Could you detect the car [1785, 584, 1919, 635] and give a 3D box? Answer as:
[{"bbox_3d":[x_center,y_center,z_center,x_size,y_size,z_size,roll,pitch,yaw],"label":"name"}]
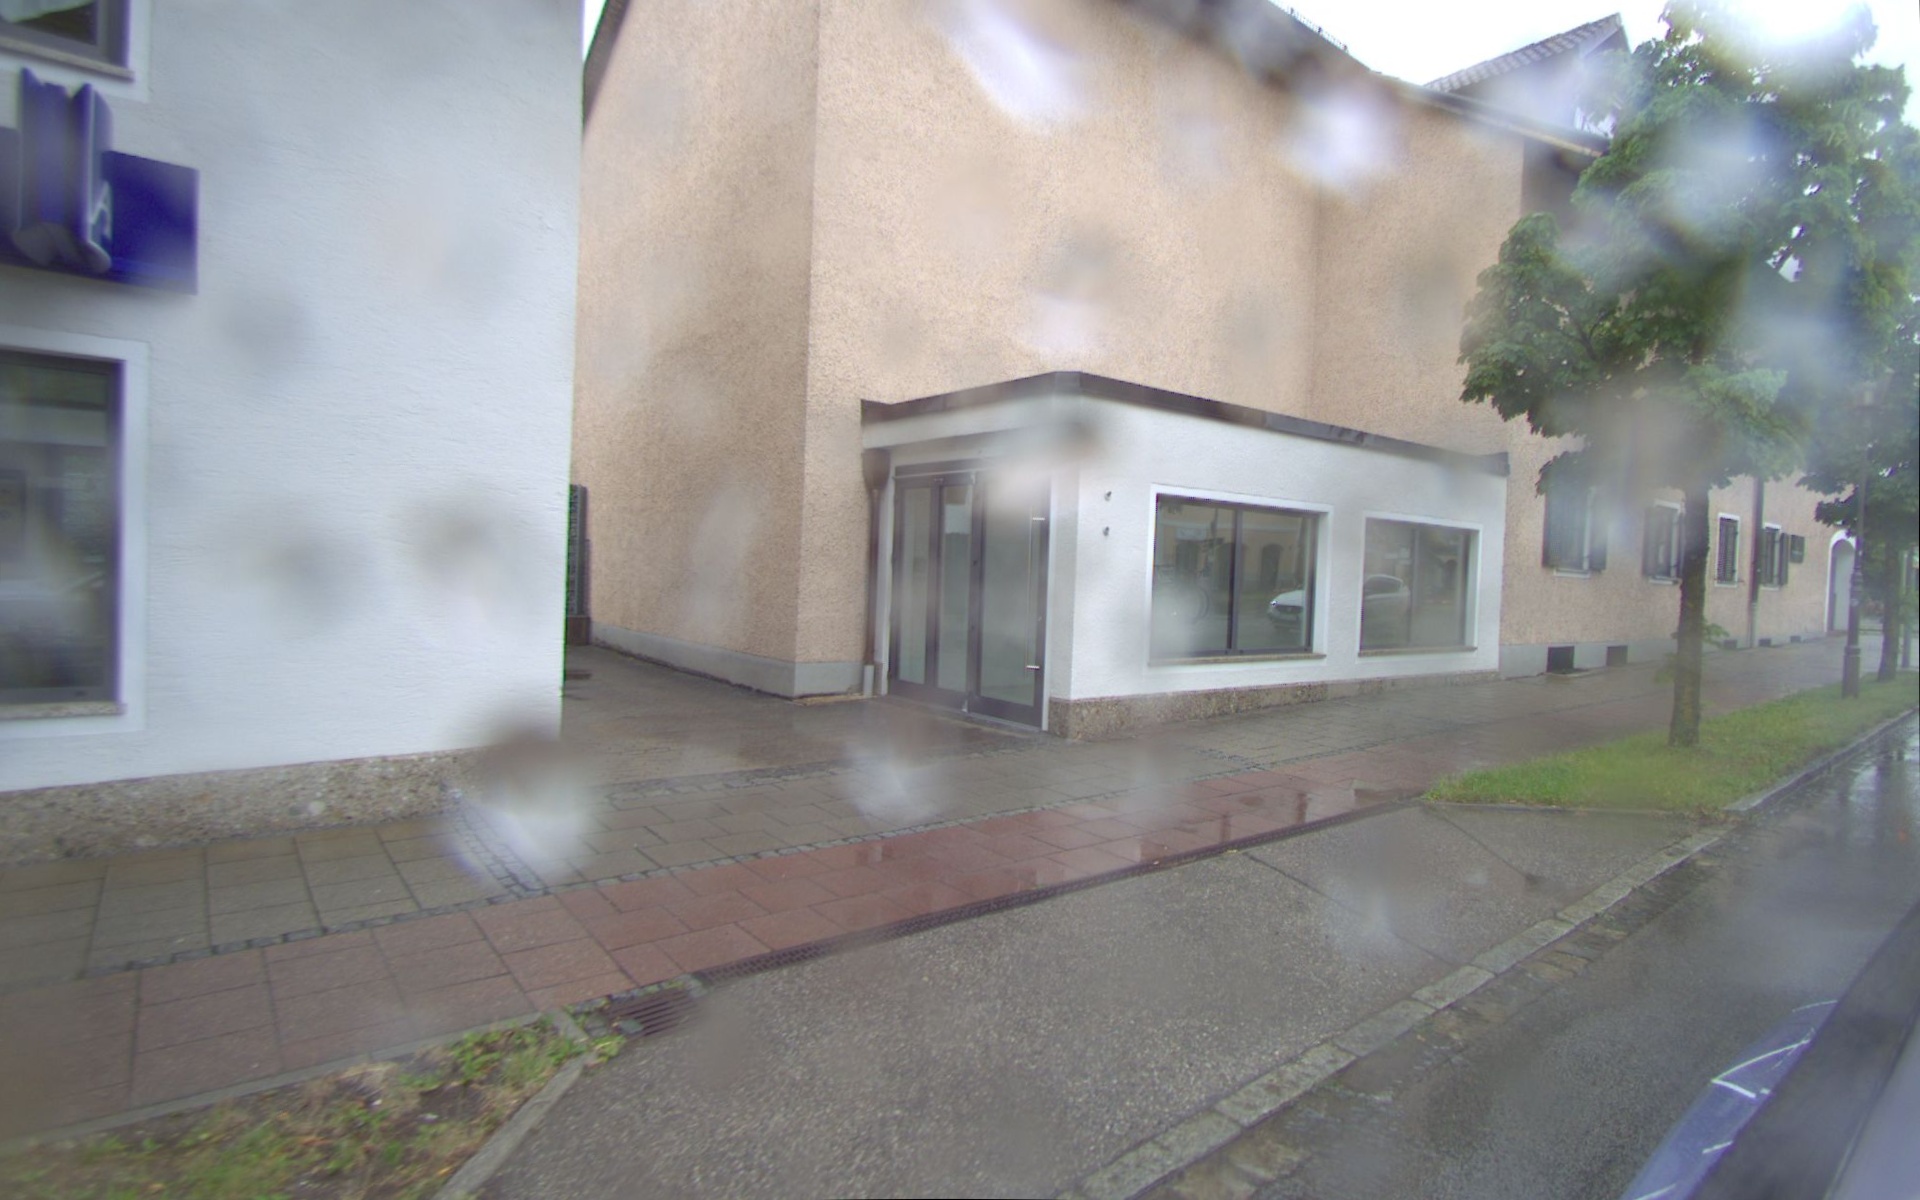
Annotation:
[{"bbox_3d":[34.887,0.351,39.343,4.005,1.685,1.837,4,3,31],"label":"car"}]
